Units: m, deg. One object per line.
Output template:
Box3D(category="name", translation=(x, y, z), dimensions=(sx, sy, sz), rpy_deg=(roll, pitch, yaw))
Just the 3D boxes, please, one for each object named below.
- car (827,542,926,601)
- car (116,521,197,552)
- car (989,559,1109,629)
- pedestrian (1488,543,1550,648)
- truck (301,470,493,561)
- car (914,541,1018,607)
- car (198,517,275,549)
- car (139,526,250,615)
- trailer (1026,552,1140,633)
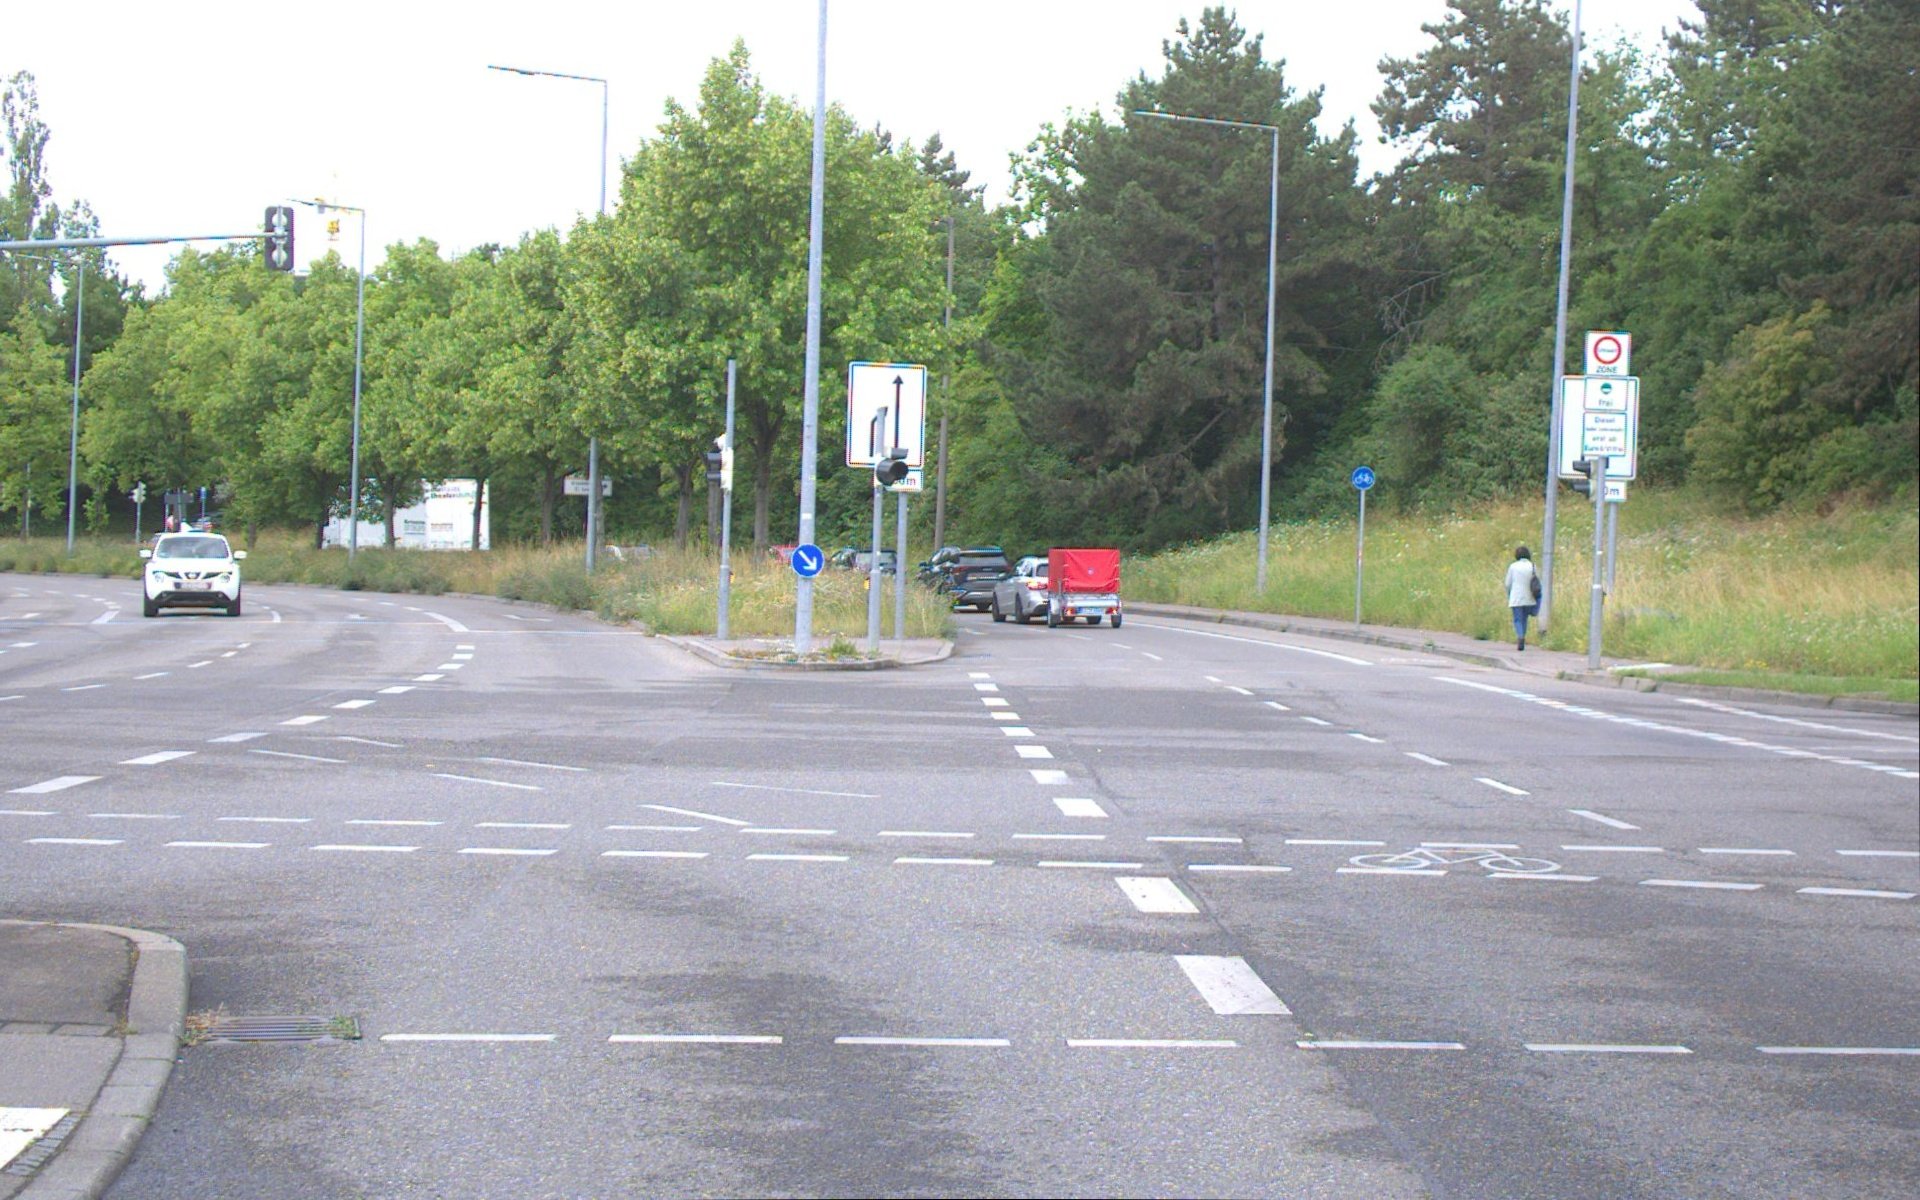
Box3D(category="car", translation=(-2.329, -0.797, 94.919), dimensions=(1.777, 1.541, 4.026), rpy_deg=(0, 1, -16))
Box3D(category="car", translation=(-41.407, -3.280, 177.279), dimensions=(1.781, 1.541, 4.018), rpy_deg=(1, 1, 30))
Box3D(category="car", translation=(1.900, -0.155, 75.134), dimensions=(1.777, 1.416, 4.460), rpy_deg=(1, 1, -10))
Box3D(category="pedestrian", translation=(8.795, -0.081, 54.124), dimensions=(0.814, 1.622, 0.791), rpy_deg=(1, 1, -1))
Box3D(category="truck", translation=(-21.545, -3.225, 130.875), dimensions=(2.740, 3.317, 11.406), rpy_deg=(0, 1, -34))
Box3D(category="car", translation=(0.122, -0.665, 85.301), dimensions=(1.777, 1.541, 4.026), rpy_deg=(0, 1, -12))
Box3D(category="car", translation=(-36.331, -3.360, 172.680), dimensions=(1.780, 1.541, 4.020), rpy_deg=(1, 1, 23))
Box3D(category="car", translation=(-14.444, -0.584, 65.017), dimensions=(1.828, 1.623, 4.427), rpy_deg=(0, 1, -10))
Box3D(category="trailer", translation=(2.541, -0.167, 71.432), dimensions=(1.764, 1.610, 3.045), rpy_deg=(1, 1, -10))
